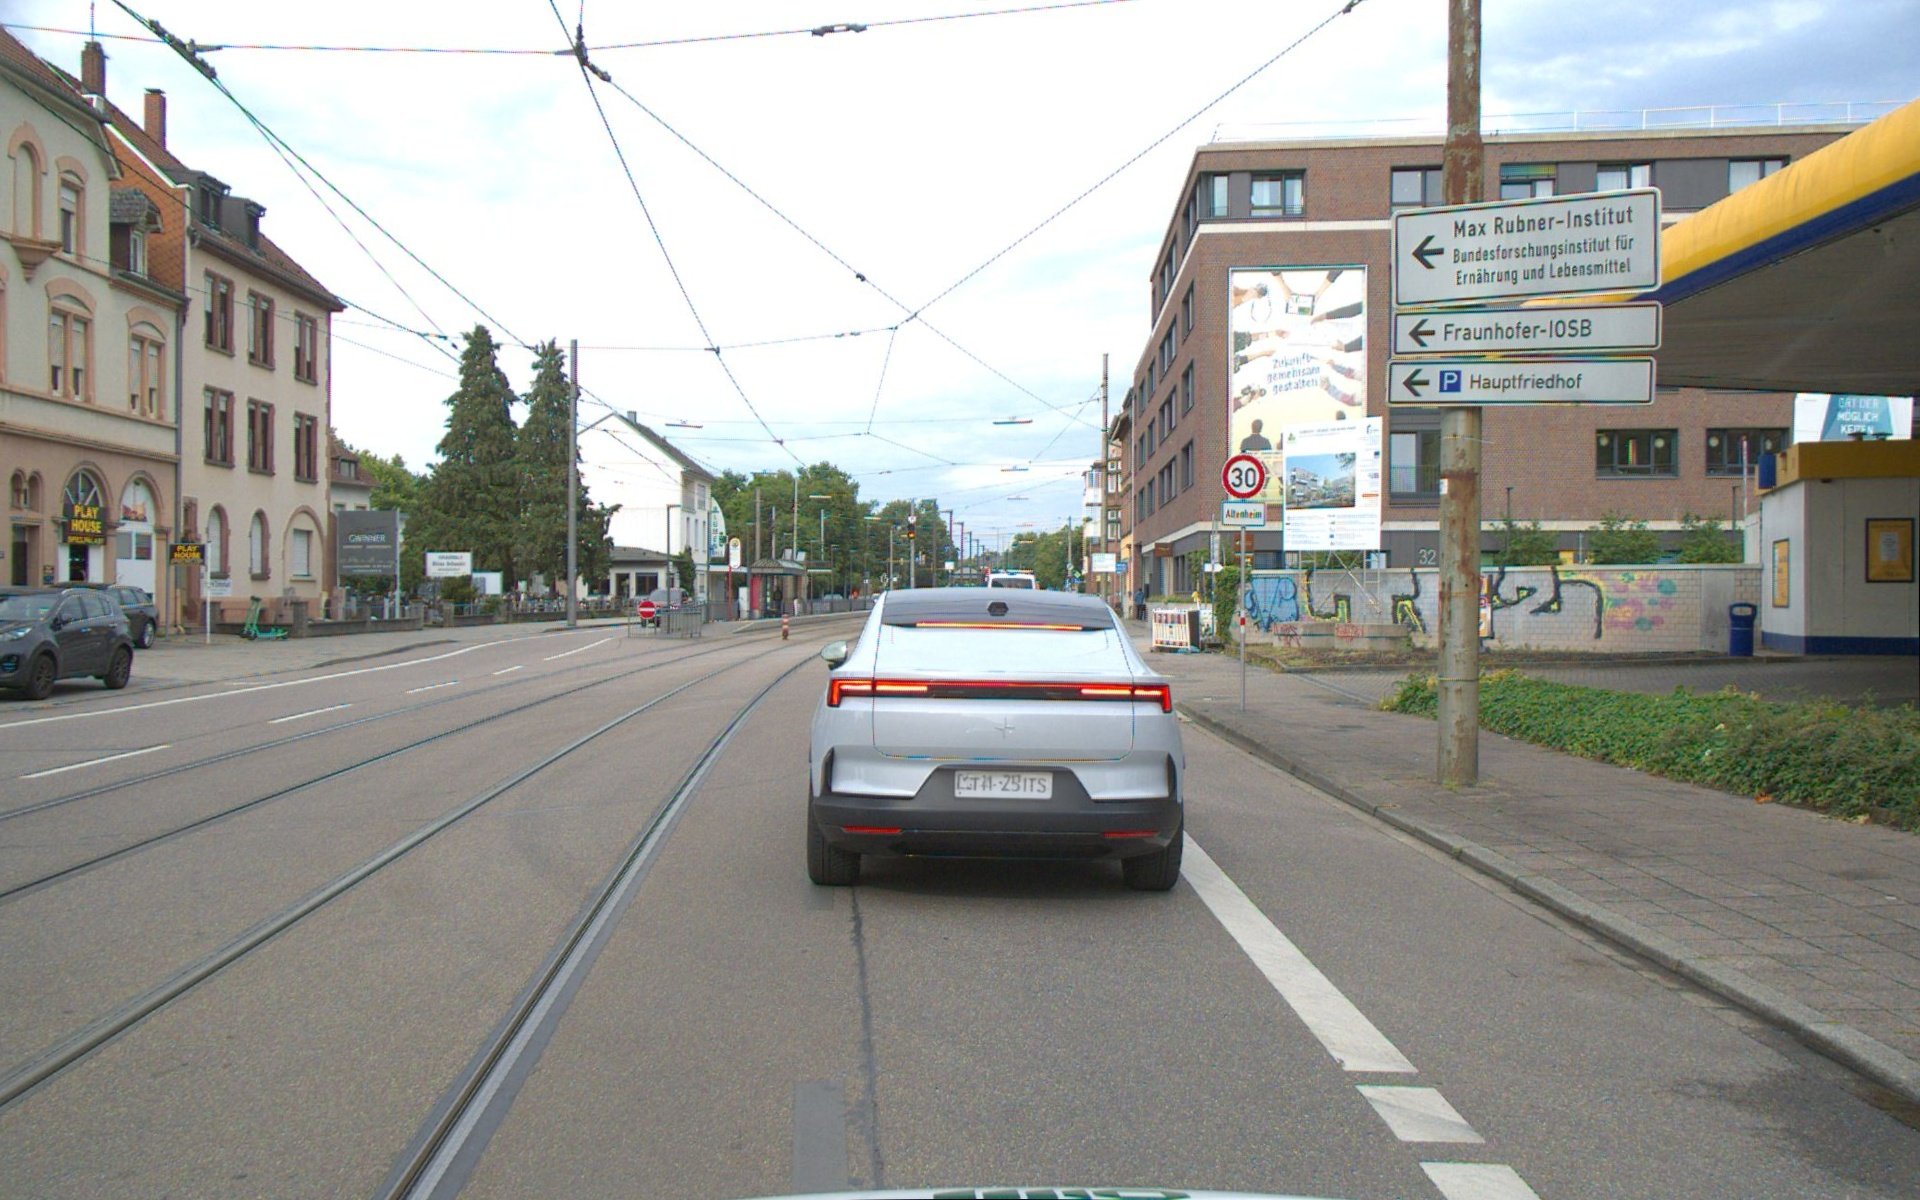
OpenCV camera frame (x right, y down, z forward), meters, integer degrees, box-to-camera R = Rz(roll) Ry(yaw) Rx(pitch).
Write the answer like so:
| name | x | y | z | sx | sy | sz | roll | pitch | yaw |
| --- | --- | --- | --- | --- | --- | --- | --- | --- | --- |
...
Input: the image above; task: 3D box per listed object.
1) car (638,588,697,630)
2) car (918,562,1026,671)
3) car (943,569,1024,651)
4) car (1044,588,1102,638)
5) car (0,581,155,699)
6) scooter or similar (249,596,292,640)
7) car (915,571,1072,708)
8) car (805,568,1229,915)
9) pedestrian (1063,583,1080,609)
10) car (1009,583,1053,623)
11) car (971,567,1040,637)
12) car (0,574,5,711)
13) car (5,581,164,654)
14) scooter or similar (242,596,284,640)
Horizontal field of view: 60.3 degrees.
| name | x | y | z | sx | sy | sz | roll | pitch | yaw |
| --- | --- | --- | --- | --- | --- | --- | --- | --- | --- |
| car | -12.956 | 0.389 | 73.418 | 1.707 | 1.771 | 4.001 | 1 | -1 | 3 |
| car | 0.181 | 0.336 | 33.643 | 1.954 | 2.049 | 3.998 | 1 | -1 | -3 |
| car | 0.569 | 0.269 | 43.935 | 1.953 | 2.049 | 3.999 | 1 | -1 | -2 |
| car | 4.429 | 0.524 | 65.227 | 1.837 | 1.855 | 4.094 | 1 | -1 | -2 |
| car | -14.764 | 0.590 | 26.494 | 1.808 | 1.748 | 4.190 | 1 | -1 | -3 |
| scooter or similar | -19.382 | 0.519 | 46.506 | 1.041 | 1.209 | 0.314 | 2 | -1 | -37 |
| car | 0.402 | 0.543 | 23.912 | 1.930 | 1.787 | 3.835 | 1 | -1 | -4 |
| car | 0.104 | 0.659 | 9.752 | 1.943 | 1.577 | 4.179 | 1 | 0 | -5 |
| pedestrian | 8.644 | -0.300 | 128.541 | 1.195 | 2.049 | 0.933 | -1 | 0 | -1 |
| car | 4.026 | 0.186 | 94.466 | 2.096 | 2.183 | 4.741 | 1 | -1 | -2 |
| car | 1.641 | 0.087 | 61.732 | 2.172 | 2.466 | 4.948 | 1 | -1 | -3 |
| car | -14.281 | 0.550 | 20.601 | 1.952 | 1.920 | 4.996 | 1 | -1 | -2 |
| car | -19.766 | 0.392 | 37.517 | 1.718 | 1.527 | 3.744 | 1 | -1 | -3 |
| scooter or similar | -19.783 | 0.515 | 46.943 | 1.041 | 1.209 | 0.314 | 2 | -1 | -37 |
